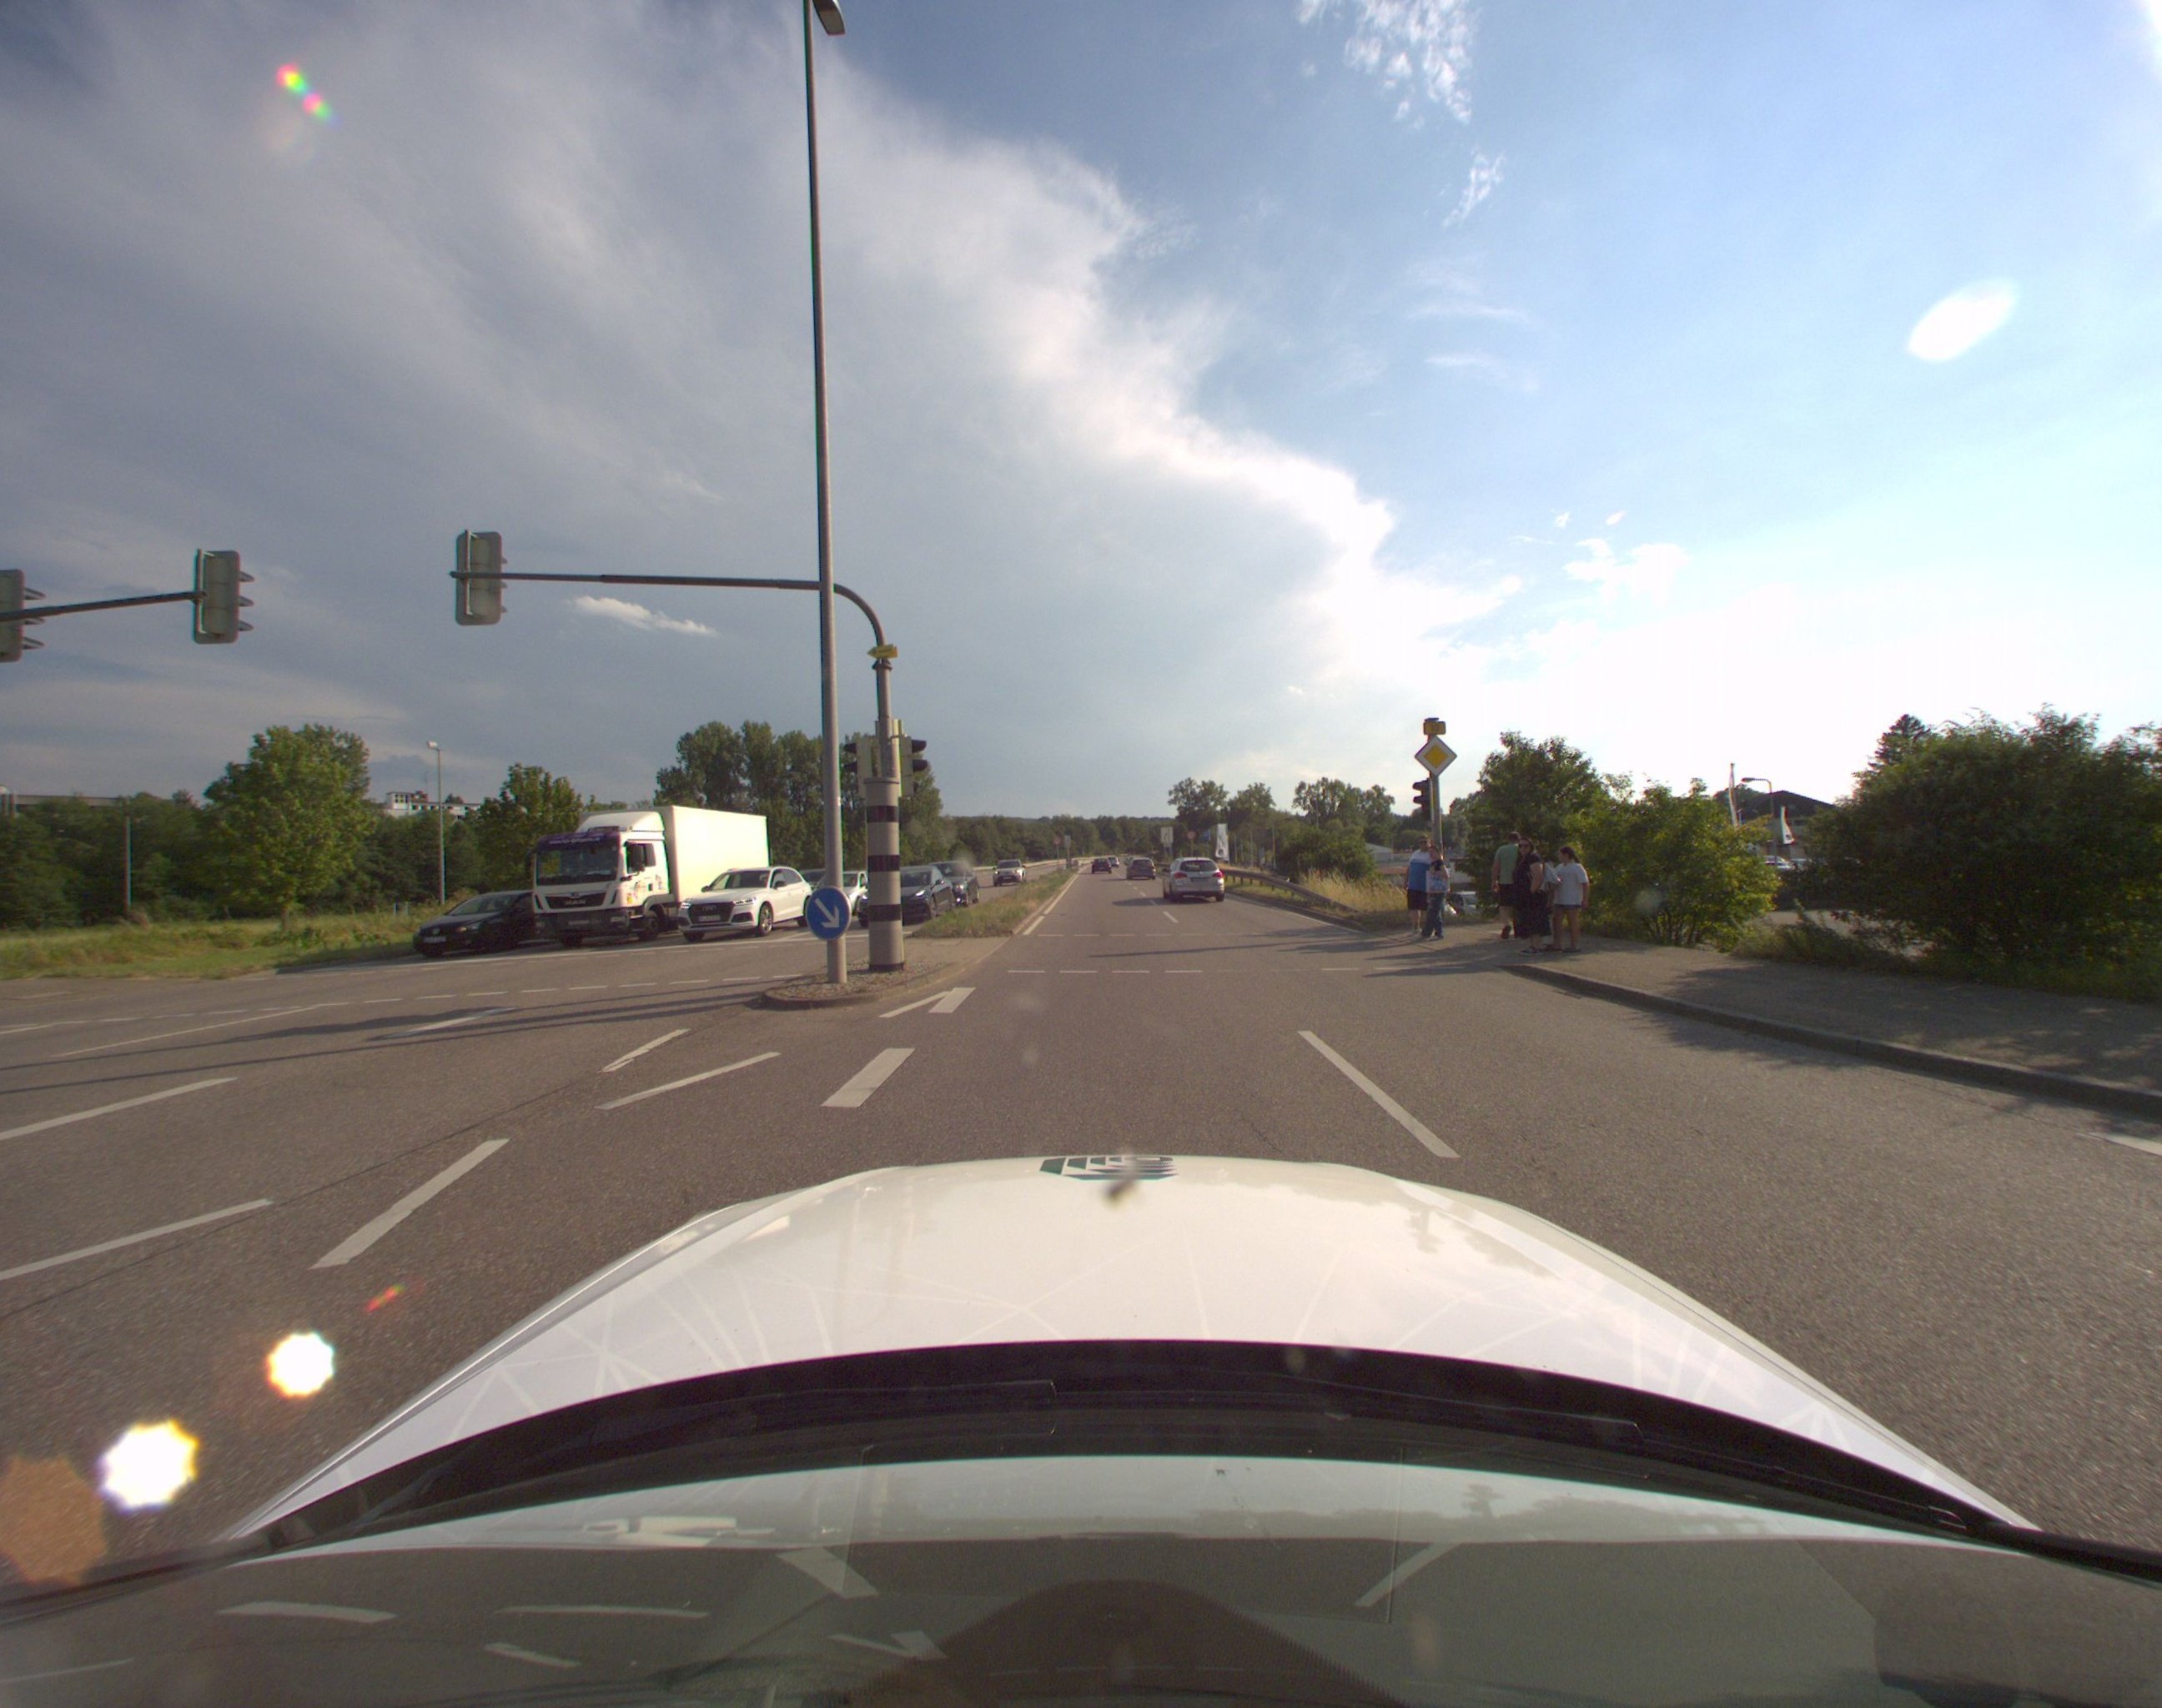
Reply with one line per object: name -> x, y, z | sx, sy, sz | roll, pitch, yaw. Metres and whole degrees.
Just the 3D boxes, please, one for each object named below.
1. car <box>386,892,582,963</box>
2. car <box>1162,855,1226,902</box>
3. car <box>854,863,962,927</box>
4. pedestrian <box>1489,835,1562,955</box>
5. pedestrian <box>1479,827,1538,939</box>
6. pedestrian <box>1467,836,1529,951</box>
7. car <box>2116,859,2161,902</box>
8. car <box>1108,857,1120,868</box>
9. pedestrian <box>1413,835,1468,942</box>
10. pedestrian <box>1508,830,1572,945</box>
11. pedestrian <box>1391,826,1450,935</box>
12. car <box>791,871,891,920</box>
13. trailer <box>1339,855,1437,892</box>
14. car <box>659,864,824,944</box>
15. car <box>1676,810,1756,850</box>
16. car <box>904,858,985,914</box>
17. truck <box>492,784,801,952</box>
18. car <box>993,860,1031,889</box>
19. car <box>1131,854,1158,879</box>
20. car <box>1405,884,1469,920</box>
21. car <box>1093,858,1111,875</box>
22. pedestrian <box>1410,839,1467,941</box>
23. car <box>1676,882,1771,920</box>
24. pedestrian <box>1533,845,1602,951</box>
car -> -14.791, 1.762, 20.500 | 1.806, 1.376, 4.002 | -4, -1, 2
car -> 3.842, 0.833, 28.303 | 1.802, 1.486, 4.002 | 0, -1, 2
car -> -4.479, 1.033, 21.876 | 1.784, 1.466, 4.928 | -2, -1, 0
pedestrian -> 6.255, 0.565, 11.491 | 0.570, 1.615, 0.622 | -3, -1, -3
pedestrian -> 6.949, 0.461, 13.260 | 0.528, 1.749, 0.538 | -5, -2, 6
pedestrian -> 6.234, 0.581, 12.201 | 0.570, 1.678, 0.622 | 0, -2, -3
car -> 45.308, 1.077, 32.849 | 1.825, 1.702, 4.130 | -3, -1, 1
car -> 4.332, 1.119, 106.148 | 1.486, 1.476, 3.361 | 0, -1, 3
pedestrian -> 5.767, 0.550, 13.093 | 0.570, 1.678, 0.622 | 0, -2, -3
pedestrian -> 6.898, 0.494, 12.255 | 0.570, 1.678, 0.622 | 0, -2, -3
pedestrian -> 6.154, 0.474, 14.803 | 0.616, 1.883, 0.861 | -3, -2, 0
car -> -7.863, 1.315, 27.185 | 1.696, 1.405, 5.081 | -3, -1, 1
trailer -> 28.177, 1.805, 75.032 | 7.839, 3.323, 3.364 | 0, -1, 6
car -> -8.254, 1.153, 20.393 | 1.987, 1.678, 4.807 | -3, -1, 1
car -> 44.921, -1.609, 57.786 | 1.746, 2.549, 5.477 | 0, -1, 6
car -> -4.485, 1.012, 27.502 | 1.774, 1.537, 4.573 | -3, 1, 1
truck -> -11.873, 0.438, 24.091 | 2.921, 3.690, 10.505 | -4, -1, 3
car -> -4.070, 1.212, 48.637 | 1.774, 1.520, 4.001 | -3, -1, 1
car -> 4.132, 0.839, 53.574 | 1.660, 1.574, 4.002 | 0, -1, 3
car -> 15.931, 2.135, 36.623 | 1.522, 1.485, 3.588 | 0, -1, 4
car -> 1.936, 1.152, 73.545 | 1.486, 1.476, 3.361 | 0, -1, 3
pedestrian -> 6.144, 0.610, 14.026 | 0.592, 1.683, 0.633 | -4, -2, 1
car -> 27.404, 1.985, 34.888 | 1.520, 1.485, 3.591 | -1, -1, 7
pedestrian -> 6.874, 0.612, 11.529 | 0.570, 1.457, 0.622 | 0, -2, -3
